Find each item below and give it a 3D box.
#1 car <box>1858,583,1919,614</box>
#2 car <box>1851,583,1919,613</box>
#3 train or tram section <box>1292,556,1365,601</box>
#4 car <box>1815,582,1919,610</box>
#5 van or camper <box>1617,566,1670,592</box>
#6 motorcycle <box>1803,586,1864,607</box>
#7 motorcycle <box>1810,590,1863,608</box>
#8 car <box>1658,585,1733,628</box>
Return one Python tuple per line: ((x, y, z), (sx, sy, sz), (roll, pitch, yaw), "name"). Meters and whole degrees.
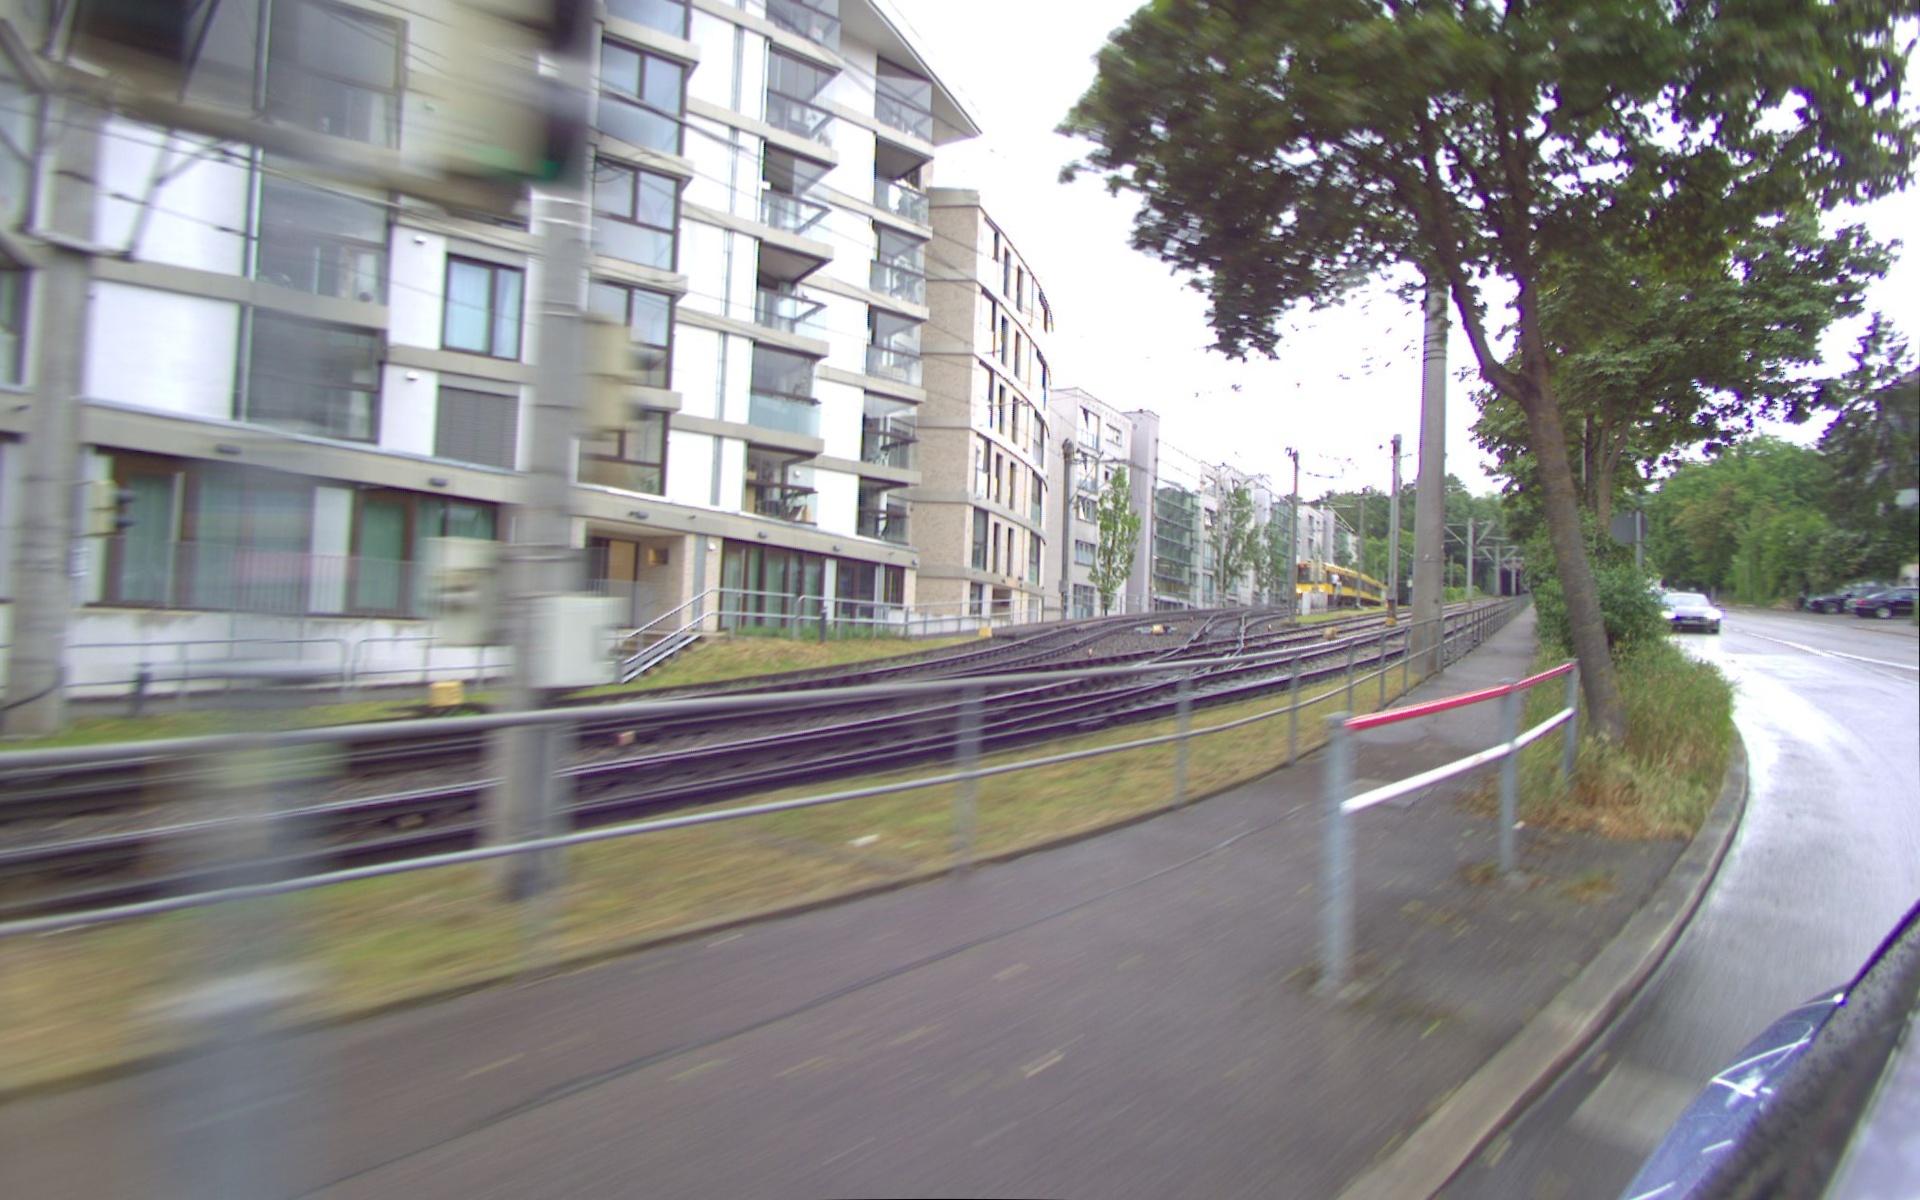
((47.989, -0.089, 50.522), (4.467, 1.508, 1.826), (-1, 1, 33), "car")
((49.314, -0.109, 52.463), (4.406, 1.547, 1.756), (1, 1, 30), "car")
((32.383, -1.826, 88.513), (3.182, 3.606, 14.339), (1, 1, 32), "train or tram section")
((52.958, -0.260, 59.115), (4.410, 1.547, 1.754), (1, 1, 33), "car")
((106.704, -3.214, 157.995), (7.973, 3.987, 2.896), (0, 1, -22), "van or camper")
((55.620, -0.214, 64.464), (1.258, 1.288, 2.805), (-1, 1, -43), "motorcycle")
((54.604, -0.076, 63.044), (2.451, 1.122, 0.651), (1, 1, 39), "motorcycle")
((27.253, 0.284, 37.610), (1.847, 1.497, 3.954), (-2, -2, 31), "car")
